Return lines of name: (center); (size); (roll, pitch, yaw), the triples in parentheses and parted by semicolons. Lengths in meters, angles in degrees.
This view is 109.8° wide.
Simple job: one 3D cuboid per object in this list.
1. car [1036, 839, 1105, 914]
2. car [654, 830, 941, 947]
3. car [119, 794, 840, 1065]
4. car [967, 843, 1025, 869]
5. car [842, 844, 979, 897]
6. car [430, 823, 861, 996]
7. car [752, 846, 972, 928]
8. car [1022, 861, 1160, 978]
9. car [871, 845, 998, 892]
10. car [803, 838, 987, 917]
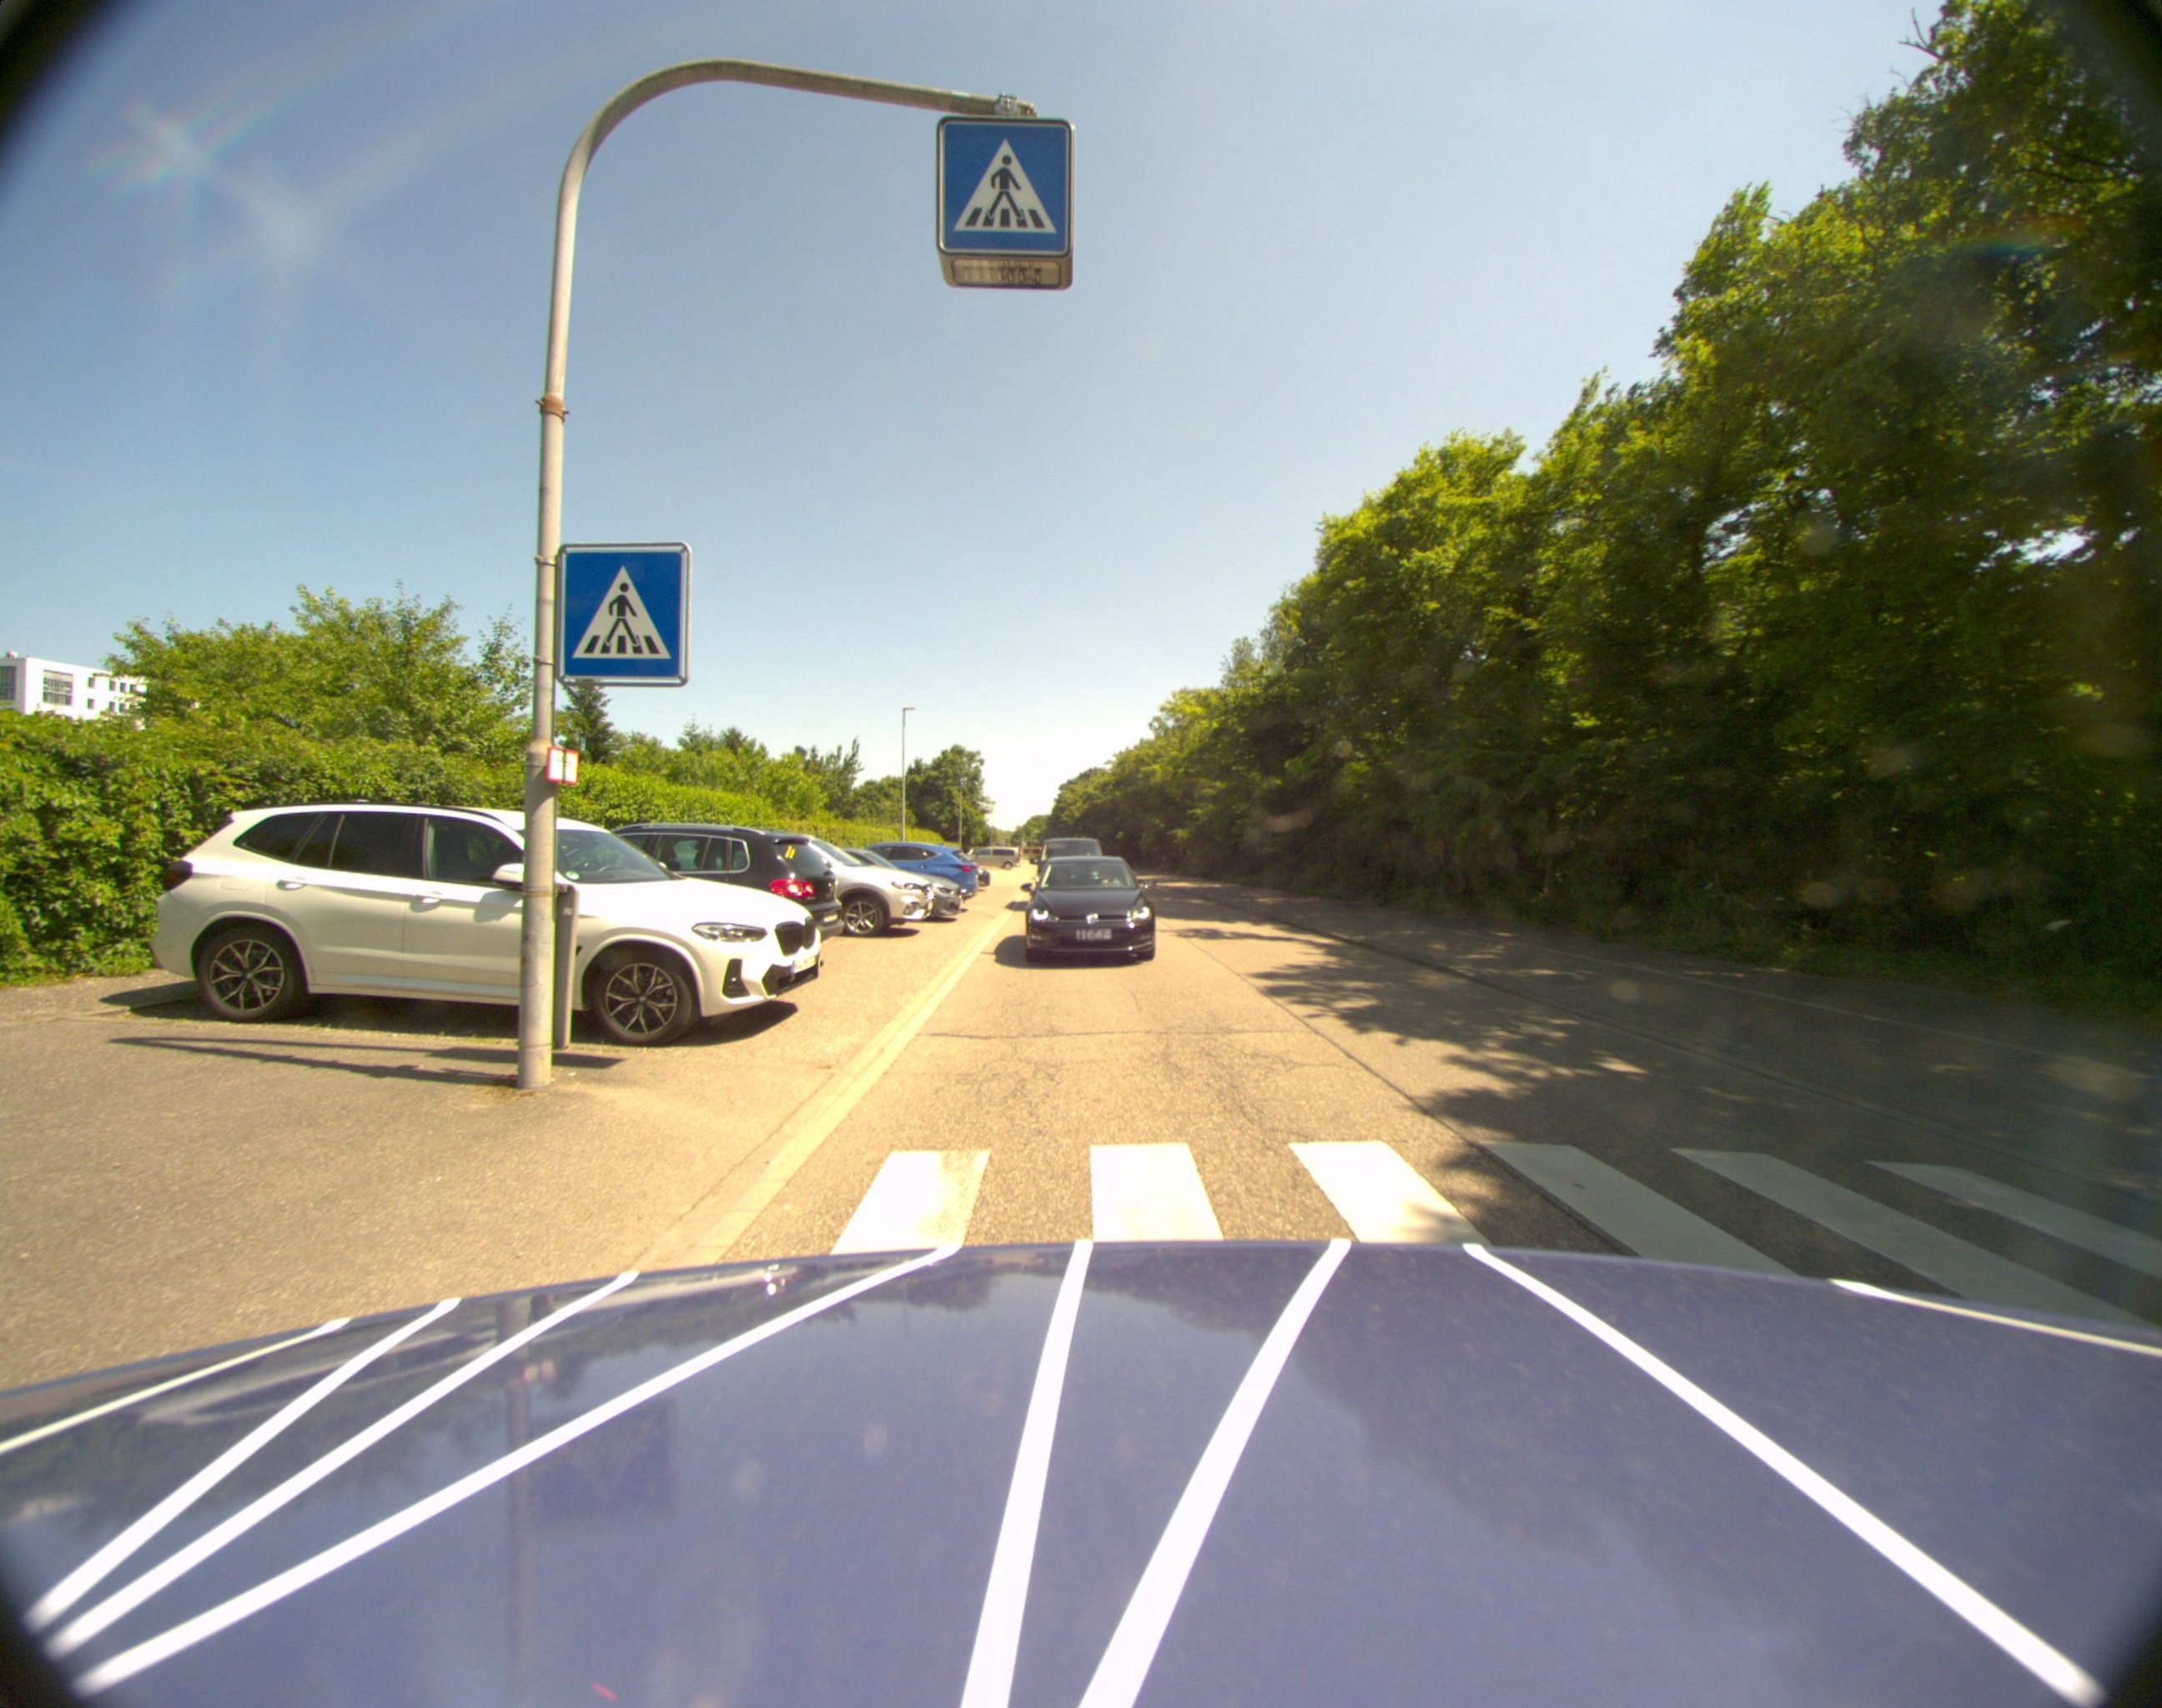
car: (-0.326, 0.549, 21.642); (1.743, 1.905, 4.387); (0, 1, -2)
car: (-4.656, 0.549, 12.987); (4.171, 1.632, 1.775); (3, 1, -3)
car: (-4.555, 0.516, 6.282); (4.465, 1.720, 1.850); (3, 2, 0)
car: (-6.839, 0.156, 61.339); (4.494, 1.840, 1.694); (3, 1, -5)
car: (-5.501, 0.521, 24.885); (4.036, 1.438, 1.649); (3, 1, -1)
car: (-4.871, 0.585, 8.944); (3.983, 1.676, 1.766); (2, 1, -1)
car: (-4.446, 0.650, 15.861); (4.037, 1.401, 1.679); (3, 1, -2)
car: (0.061, 0.842, 11.827); (1.743, 1.396, 4.387); (0, 1, -2)
car: (-5.281, 0.519, 27.799); (4.252, 1.410, 1.649); (3, 1, -1)
car: (-4.488, 0.535, 18.759); (4.036, 1.632, 1.673); (3, 1, -1)
